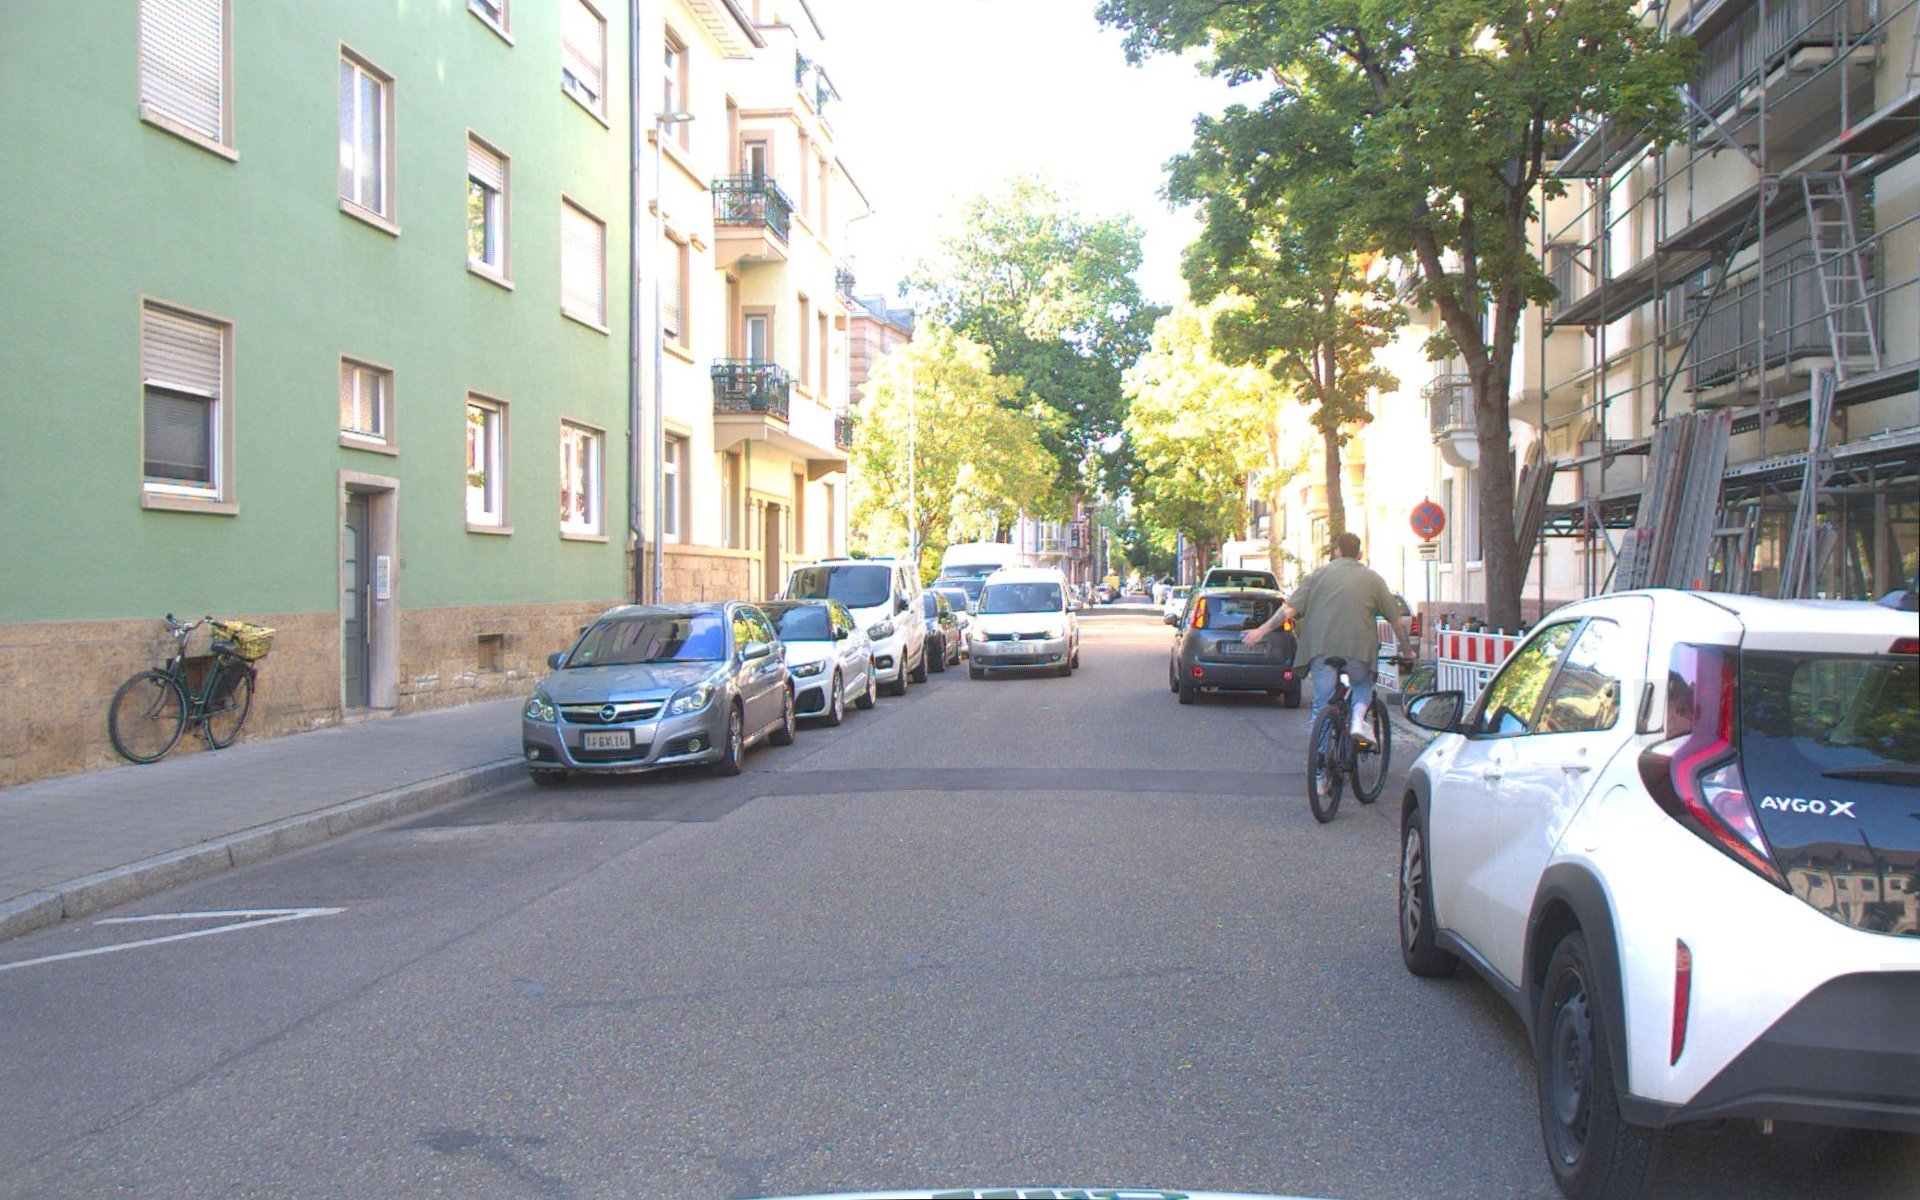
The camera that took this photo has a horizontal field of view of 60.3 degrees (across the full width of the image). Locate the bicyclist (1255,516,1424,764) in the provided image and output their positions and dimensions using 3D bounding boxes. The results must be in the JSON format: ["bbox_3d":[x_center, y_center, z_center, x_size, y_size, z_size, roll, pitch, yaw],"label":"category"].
[{"bbox_3d":[2.573,0.282,11.187,0.866,1.589,0.866,-2,-3,32],"label":"bicyclist"}]

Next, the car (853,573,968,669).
[{"bbox_3d":[-0.883,0.351,31.589,1.674,1.713,4.003,0,1,6],"label":"car"}]

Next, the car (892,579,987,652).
[{"bbox_3d":[-0.399,0.295,36.688,1.674,1.531,4.003,0,1,6],"label":"car"}]

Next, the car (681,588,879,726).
[{"bbox_3d":[-2.062,0.616,19.952,1.651,1.479,3.713,-1,0,5],"label":"car"}]

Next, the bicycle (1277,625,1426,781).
[{"bbox_3d":[3.283,0.812,13.697,0.822,1.169,2.231,0,-2,23],"label":"bicycle"}]

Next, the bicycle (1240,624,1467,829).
[{"bbox_3d":[2.759,0.798,11.382,0.824,1.169,2.228,4,2,31],"label":"bicycle"}]

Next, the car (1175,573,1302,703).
[{"bbox_3d":[3.734,0.447,22.562,1.523,1.559,3.489,3,1,8],"label":"car"}]

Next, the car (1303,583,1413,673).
[{"bbox_3d":[7.119,0.460,29.840,1.524,1.434,3.383,3,1,8],"label":"car"}]

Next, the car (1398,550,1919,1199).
[{"bbox_3d":[2.490,0.689,5.182,1.639,1.572,3.406,2,1,6],"label":"car"}]

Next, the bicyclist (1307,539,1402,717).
[{"bbox_3d":[3.230,0.251,13.522,0.610,1.405,0.868,-2,-4,22],"label":"bicyclist"}]

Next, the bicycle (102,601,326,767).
[{"bbox_3d":[-6.069,0.633,13.618,0.539,1.198,2.280,3,1,7],"label":"bicycle"}]

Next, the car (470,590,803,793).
[{"bbox_3d":[-2.708,0.699,14.867,1.937,1.481,4.115,-2,0,3],"label":"car"}]

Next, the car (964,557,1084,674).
[{"bbox_3d":[1.204,0.236,29.226,1.744,1.893,4.202,-1,0,7],"label":"car"}]

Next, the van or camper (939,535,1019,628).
[{"bbox_3d":[0.612,-0.549,48.331,1.951,2.597,5.026,0,1,5],"label":"van or camper"}]

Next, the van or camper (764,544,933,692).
[{"bbox_3d":[-1.602,0.234,25.663,1.952,2.049,4.914,-1,0,4],"label":"van or camper"}]

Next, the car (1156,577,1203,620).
[{"bbox_3d":[8.693,-0.063,65.809,1.651,1.632,4.002,-1,0,5],"label":"car"}]
